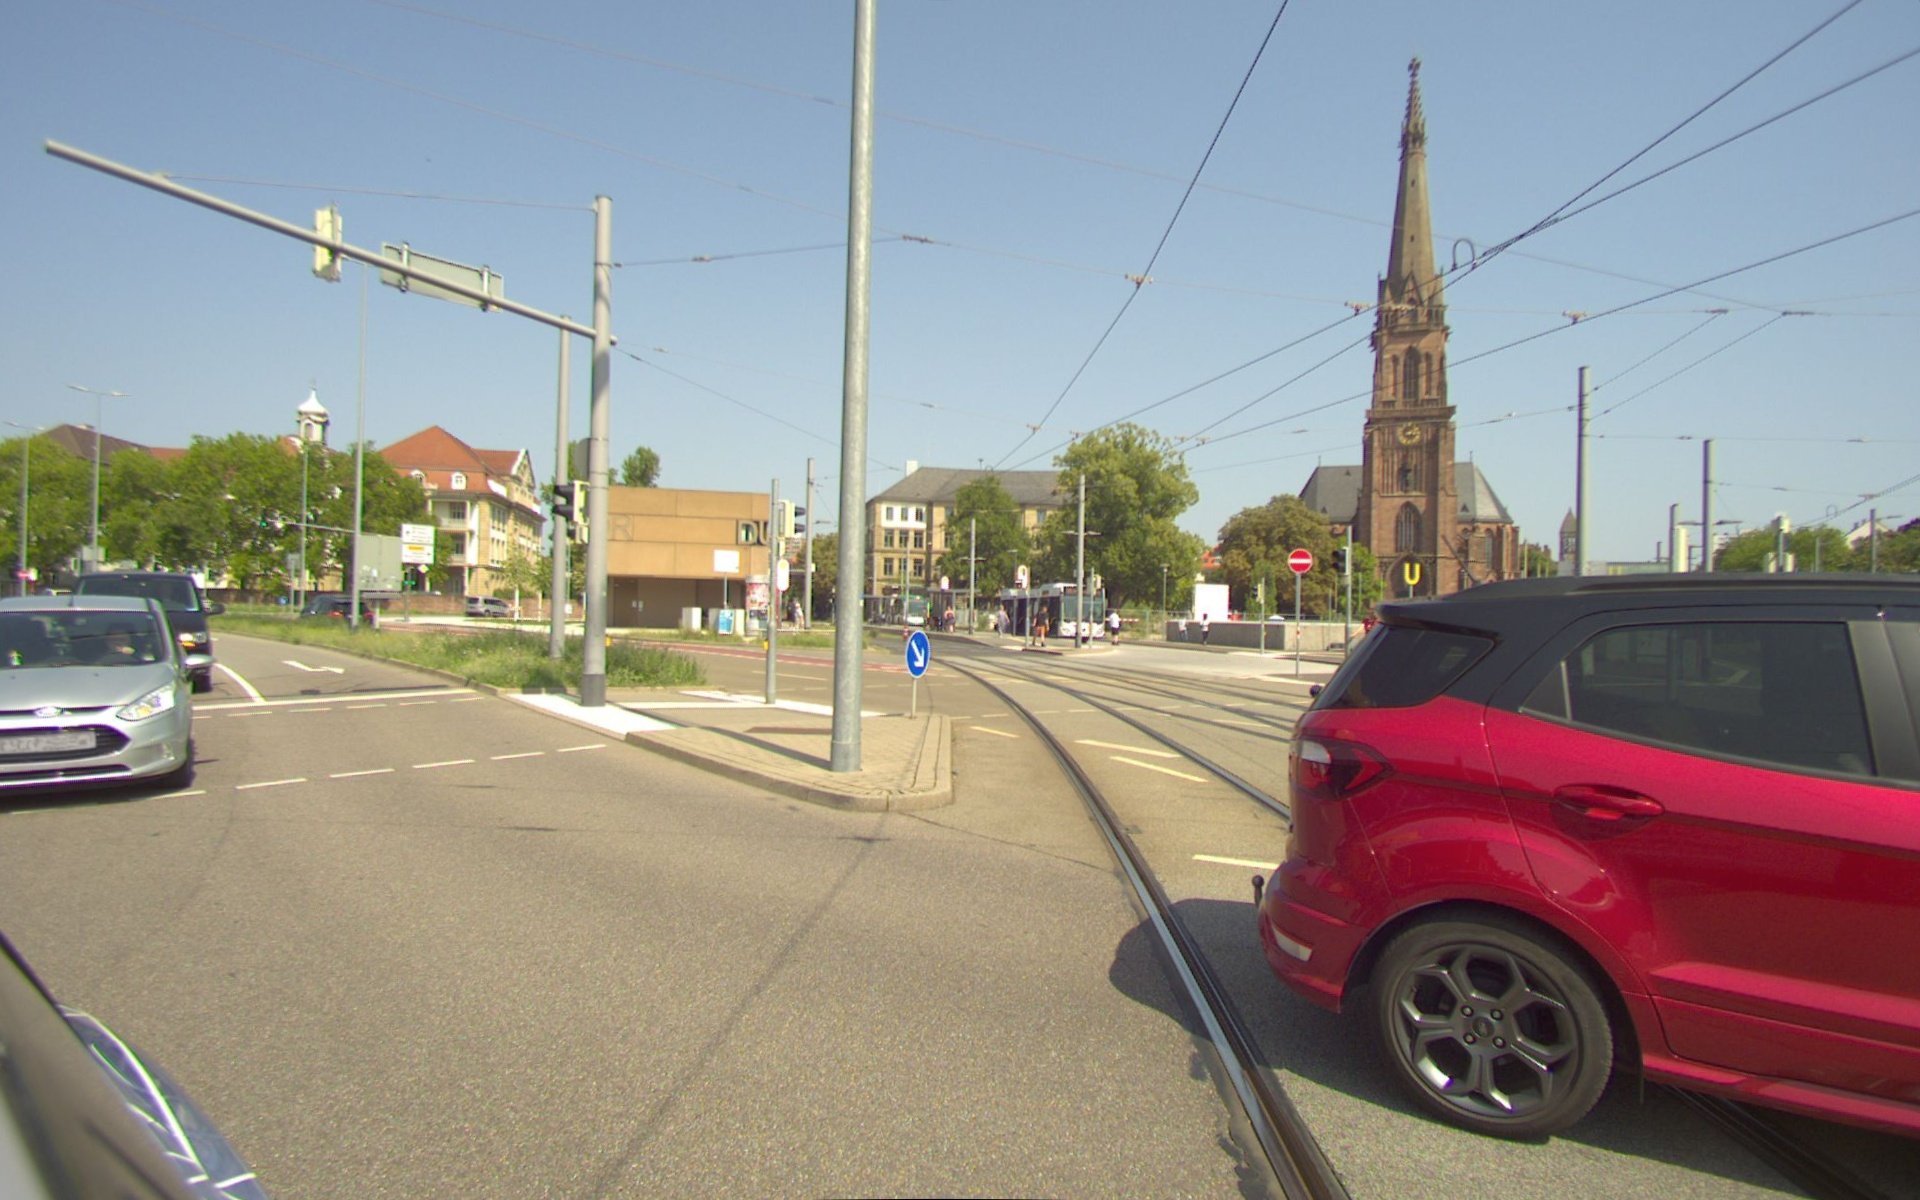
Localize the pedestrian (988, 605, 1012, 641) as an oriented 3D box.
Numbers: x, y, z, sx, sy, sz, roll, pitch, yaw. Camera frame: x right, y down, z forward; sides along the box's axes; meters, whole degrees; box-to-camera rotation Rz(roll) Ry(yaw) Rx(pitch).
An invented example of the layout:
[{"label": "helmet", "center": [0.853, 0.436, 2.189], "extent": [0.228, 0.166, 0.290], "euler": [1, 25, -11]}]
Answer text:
[{"label": "pedestrian", "center": [2.042, 1.201, 51.667], "extent": [0.784, 1.793, 0.947], "euler": [1, -3, 36]}]

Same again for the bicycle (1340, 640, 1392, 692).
[{"label": "bicycle", "center": [9.033, 1.435, 22.496], "extent": [0.613, 1.077, 1.889], "euler": [0, -1, 36]}]

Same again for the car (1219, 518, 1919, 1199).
[{"label": "car", "center": [2.988, 0.664, 2.785], "extent": [4.069, 1.630, 1.749], "euler": [1, -2, 32]}]

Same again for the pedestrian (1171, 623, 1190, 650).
[{"label": "pedestrian", "center": [12.710, 2.097, 58.393], "extent": [0.771, 1.560, 0.681], "euler": [3, -2, -17]}]

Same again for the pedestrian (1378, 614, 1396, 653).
[{"label": "pedestrian", "center": [18.502, 1.447, 43.830], "extent": [0.569, 1.671, 0.797], "euler": [1, 1, 15]}]

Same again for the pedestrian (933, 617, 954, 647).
[{"label": "pedestrian", "center": [-1.006, 1.919, 60.937], "extent": [0.958, 1.793, 0.775], "euler": [0, -3, 39]}]

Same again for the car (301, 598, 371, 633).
[{"label": "car", "center": [-31.551, 0.762, 51.138], "extent": [4.657, 1.665, 1.876], "euler": [0, -1, 44]}]

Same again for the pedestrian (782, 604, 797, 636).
[{"label": "pedestrian", "center": [-9.140, 1.062, 54.292], "extent": [0.511, 1.658, 0.564], "euler": [1, 0, 36]}]

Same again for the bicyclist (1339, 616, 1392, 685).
[{"label": "bicyclist", "center": [9.048, 1.112, 22.586], "extent": [0.876, 1.470, 0.968], "euler": [0, -1, 37]}]

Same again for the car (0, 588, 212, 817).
[{"label": "car", "center": [-7.821, 0.728, 9.027], "extent": [1.665, 1.607, 4.372], "euler": [2, -1, -35]}]

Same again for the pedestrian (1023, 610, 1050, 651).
[{"label": "pedestrian", "center": [3.443, 1.390, 45.576], "extent": [0.784, 1.793, 0.947], "euler": [1, -3, 36]}]

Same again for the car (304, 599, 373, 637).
[{"label": "car", "center": [-26.359, 0.731, 42.909], "extent": [1.655, 1.532, 3.707], "euler": [2, -1, -45]}]

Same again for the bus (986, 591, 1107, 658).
[{"label": "bus", "center": [4.592, 1.297, 57.734], "extent": [2.632, 3.356, 12.794], "euler": [2, -1, -15]}]

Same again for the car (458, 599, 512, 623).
[{"label": "car", "center": [-40.656, 0.959, 86.702], "extent": [1.985, 1.984, 3.973], "euler": [1, -1, 20]}]

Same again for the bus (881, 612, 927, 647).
[{"label": "bus", "center": [-5.751, 2.881, 101.957], "extent": [2.500, 3.054, 12.468], "euler": [0, 1, -13]}]

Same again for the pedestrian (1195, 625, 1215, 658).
[{"label": "pedestrian", "center": [13.330, 2.259, 55.126], "extent": [0.771, 1.741, 0.681], "euler": [2, -1, -17]}]

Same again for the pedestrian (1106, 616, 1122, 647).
[{"label": "pedestrian", "center": [7.883, 1.626, 51.787], "extent": [0.567, 1.540, 0.601], "euler": [2, -2, -12]}]

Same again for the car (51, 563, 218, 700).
[{"label": "car", "center": [-13.762, 0.479, 16.905], "extent": [1.871, 1.945, 4.894], "euler": [2, -1, -40]}]

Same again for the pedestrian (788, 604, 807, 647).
[{"label": "pedestrian", "center": [-6.901, 1.071, 42.952], "extent": [0.552, 1.830, 0.562], "euler": [2, -2, -39]}]

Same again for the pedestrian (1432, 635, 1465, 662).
[{"label": "pedestrian", "center": [27.369, 2.707, 56.683], "extent": [0.604, 1.497, 1.704], "euler": [2, -1, -21]}]
